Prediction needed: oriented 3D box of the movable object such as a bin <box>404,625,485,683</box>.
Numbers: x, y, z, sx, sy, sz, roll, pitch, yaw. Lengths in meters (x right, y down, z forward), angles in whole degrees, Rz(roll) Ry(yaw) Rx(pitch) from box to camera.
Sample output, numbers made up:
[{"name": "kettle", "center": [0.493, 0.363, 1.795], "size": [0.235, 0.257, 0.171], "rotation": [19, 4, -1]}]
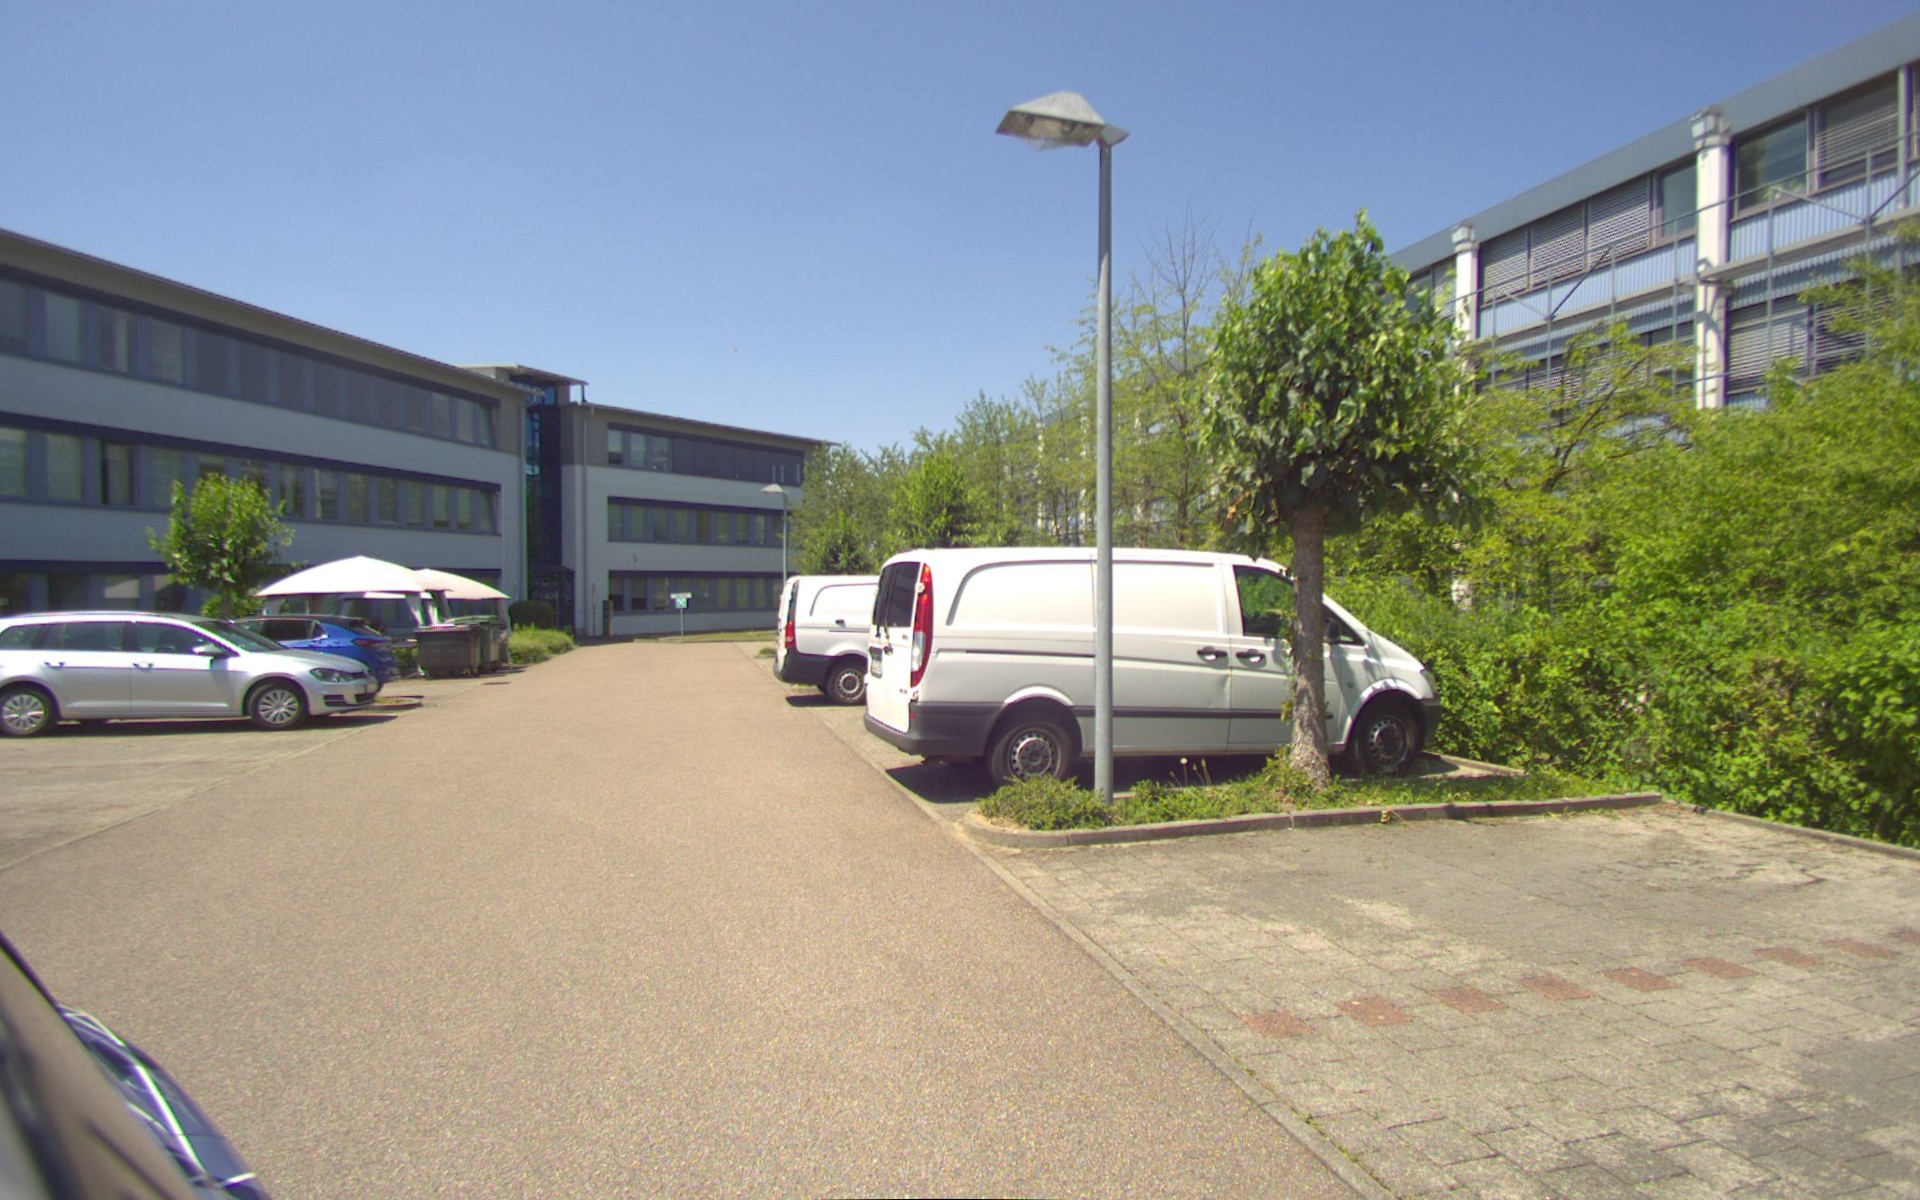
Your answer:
[{"name": "movable object such as a bin", "center": [-11.155, 1.153, 21.951], "size": [1.342, 1.198, 0.999], "rotation": [-1, 0, -10]}]

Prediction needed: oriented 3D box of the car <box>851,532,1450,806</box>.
[{"name": "car", "center": [1.555, 0.469, 8.623], "size": [4.655, 1.920, 1.835], "rotation": [-1, 0, -16]}]

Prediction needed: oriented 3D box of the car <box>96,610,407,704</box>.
[{"name": "car", "center": [-11.256, 0.887, 16.363], "size": [3.762, 1.402, 1.657], "rotation": [1, -1, -16]}]

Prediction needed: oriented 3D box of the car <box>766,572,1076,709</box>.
[{"name": "car", "center": [-0.646, 0.551, 15.624], "size": [4.443, 1.896, 1.835], "rotation": [-1, 0, -16]}]

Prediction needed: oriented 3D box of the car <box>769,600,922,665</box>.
[{"name": "car", "center": [-2.996, 0.815, 26.377], "size": [3.701, 1.569, 1.666], "rotation": [-1, 0, -16]}]

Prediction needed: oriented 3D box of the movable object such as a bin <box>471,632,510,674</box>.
[{"name": "movable object such as a bin", "center": [-11.126, 1.243, 24.017], "size": [0.680, 0.956, 0.724], "rotation": [-1, 0, -10]}]

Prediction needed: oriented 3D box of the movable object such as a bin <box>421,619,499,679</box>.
[{"name": "movable object such as a bin", "center": [-11.331, 1.089, 22.989], "size": [1.342, 1.306, 1.045], "rotation": [-1, 0, -10]}]

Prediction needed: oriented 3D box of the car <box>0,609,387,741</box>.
[{"name": "car", "center": [-10.075, 0.890, 12.963], "size": [4.443, 1.508, 1.835], "rotation": [1, -1, -16]}]
